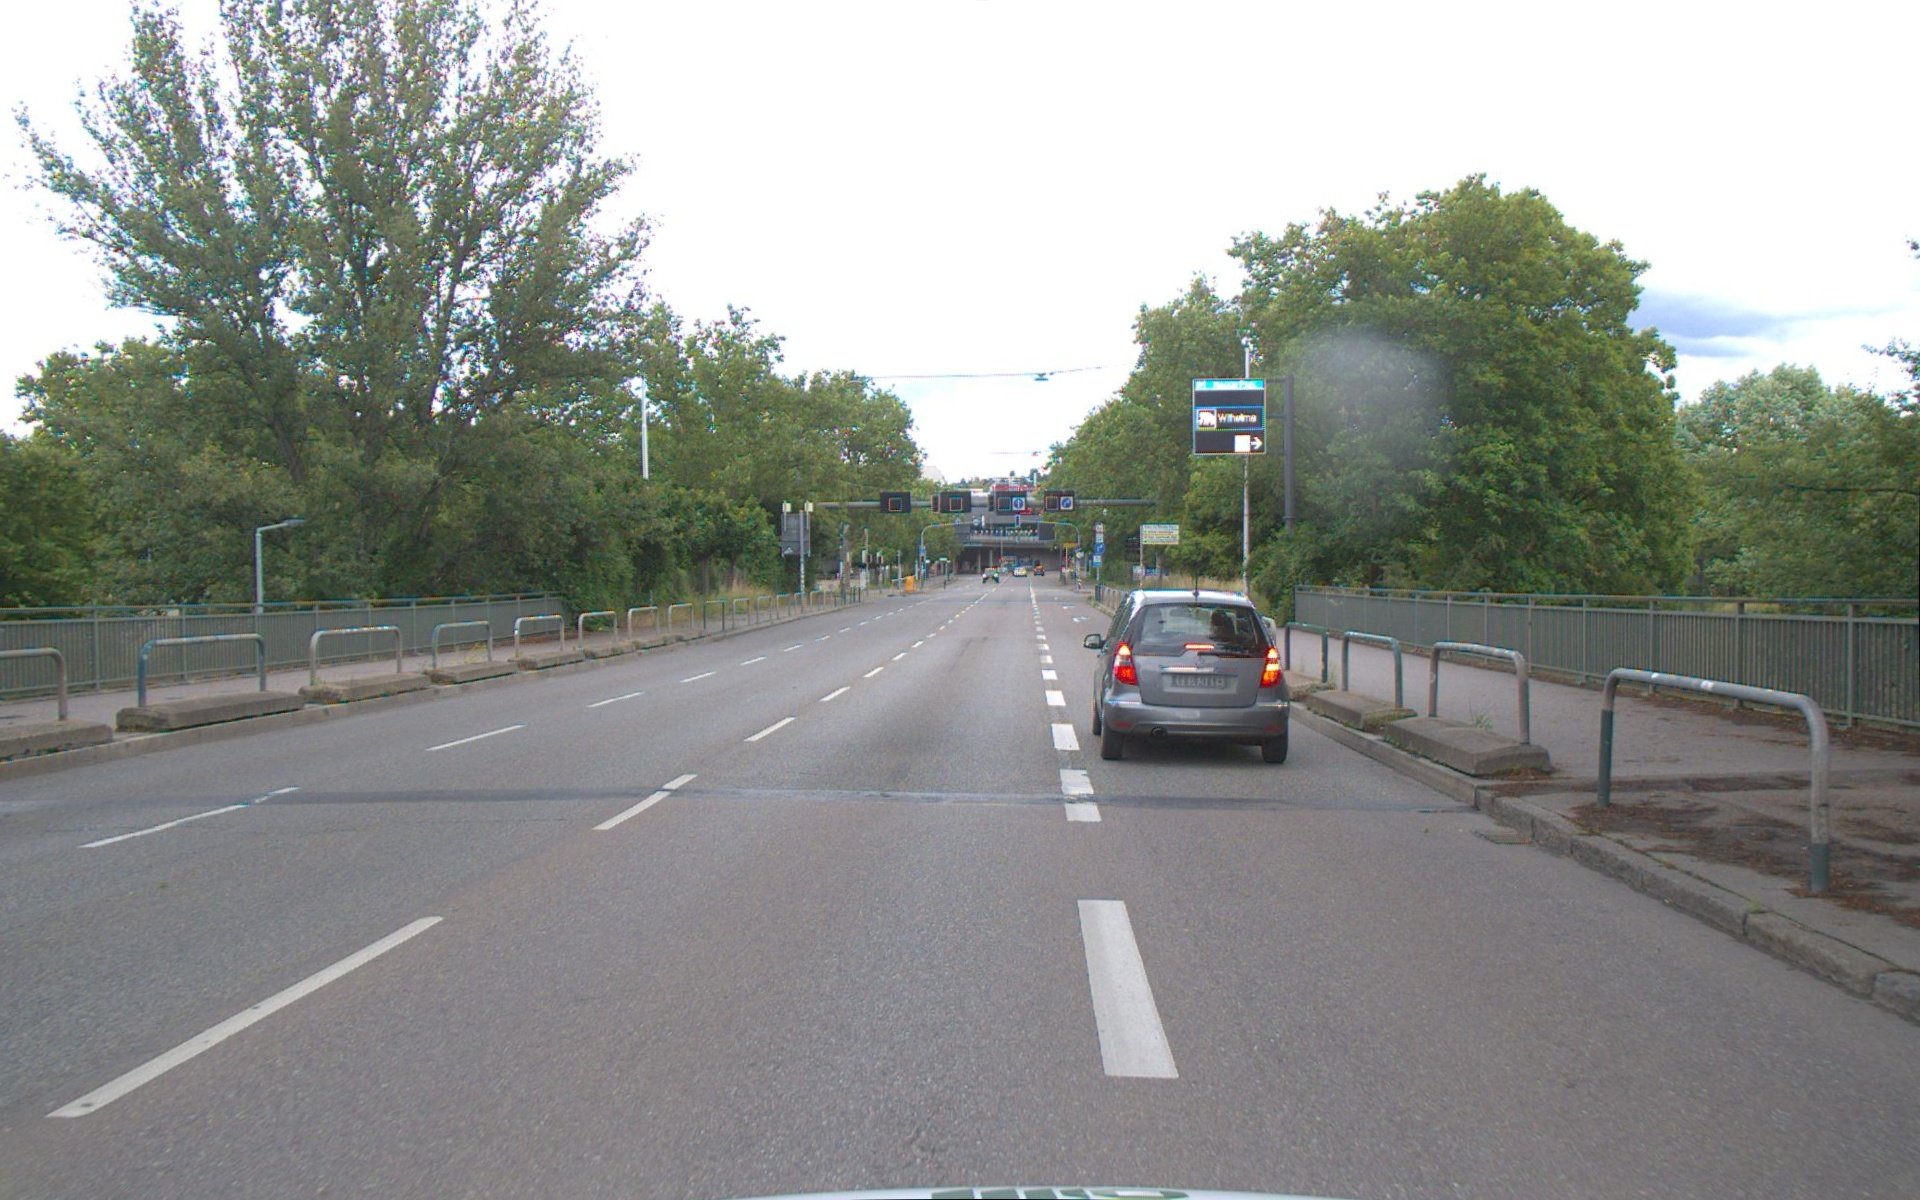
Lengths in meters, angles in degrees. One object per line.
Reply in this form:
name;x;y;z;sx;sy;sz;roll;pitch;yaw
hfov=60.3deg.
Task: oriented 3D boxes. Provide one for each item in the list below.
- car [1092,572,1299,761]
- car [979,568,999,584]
car;2.225;0.560;16.461;1.788;1.644;4.036;0;0;5
car;3.343;-2.778;191.586;1.951;1.689;4.520;-2;1;5
